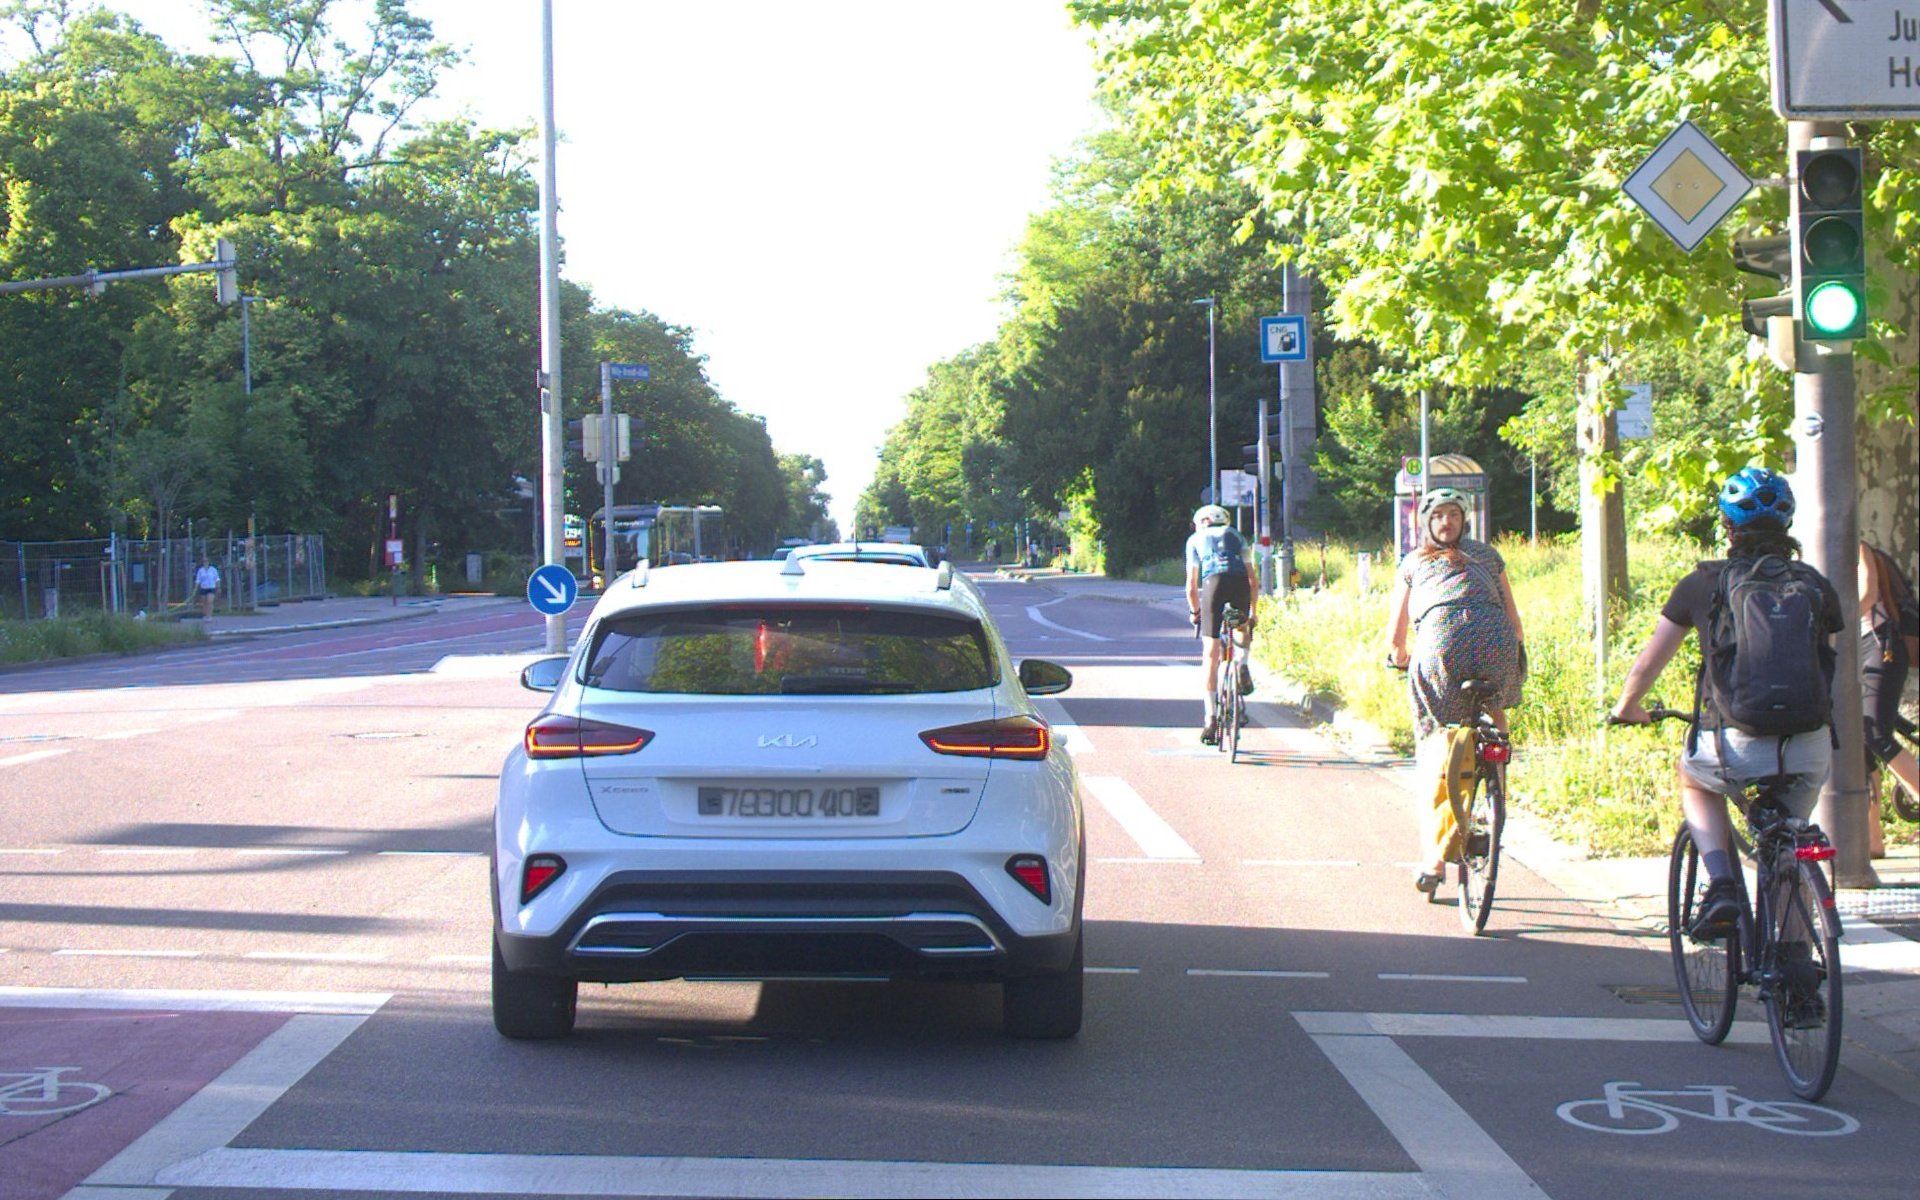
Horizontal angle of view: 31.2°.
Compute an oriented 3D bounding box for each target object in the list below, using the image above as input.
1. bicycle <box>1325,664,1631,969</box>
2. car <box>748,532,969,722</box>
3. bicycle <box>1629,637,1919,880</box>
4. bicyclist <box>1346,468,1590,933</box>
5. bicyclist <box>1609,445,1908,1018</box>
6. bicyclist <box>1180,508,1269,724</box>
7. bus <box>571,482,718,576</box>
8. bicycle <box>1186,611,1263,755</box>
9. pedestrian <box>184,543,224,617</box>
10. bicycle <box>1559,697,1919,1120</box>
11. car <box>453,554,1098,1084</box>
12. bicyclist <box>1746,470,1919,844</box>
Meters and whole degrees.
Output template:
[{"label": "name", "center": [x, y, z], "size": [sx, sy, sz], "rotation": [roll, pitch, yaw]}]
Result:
[{"label": "bicycle", "center": [2.028, 0.816, 13.844], "size": [0.758, 1.009, 2.570], "rotation": [1, 1, -2]}, {"label": "car", "center": [-0.871, 0.189, 29.317], "size": [1.728, 1.478, 3.517], "rotation": [-2, 1, -2]}, {"label": "bicycle", "center": [4.138, 0.674, 15.380], "size": [2.092, 0.972, 0.751], "rotation": [-2, 1, -12]}, {"label": "bicyclist", "center": [2.033, 0.381, 13.891], "size": [0.753, 1.789, 1.165], "rotation": [1, 1, -2]}, {"label": "bicyclist", "center": [2.295, 0.361, 9.948], "size": [0.665, 1.596, 0.721], "rotation": [0, 1, -2]}, {"label": "bicyclist", "center": [1.826, 0.109, 23.802], "size": [0.554, 1.473, 0.717], "rotation": [0, 0, -1]}, {"label": "bus", "center": [-12.965, -2.943, 142.709], "size": [3.742, 3.660, 13.238], "rotation": [-1, 1, 5]}, {"label": "bicycle", "center": [1.825, 0.558, 23.817], "size": [0.401, 0.953, 1.551], "rotation": [0, 0, -1]}, {"label": "pedestrian", "center": [-18.261, -0.490, 83.075], "size": [0.785, 1.779, 0.751], "rotation": [0, 0, 0]}, {"label": "bicycle", "center": [2.290, 0.834, 10.008], "size": [0.668, 1.006, 2.081], "rotation": [0, 1, -2]}, {"label": "car", "center": [-0.576, 0.596, 11.743], "size": [1.821, 1.475, 3.937], "rotation": [0, 1, -2]}, {"label": "bicyclist", "center": [4.091, 0.234, 15.364], "size": [0.846, 1.608, 0.736], "rotation": [-2, 1, -12]}]
